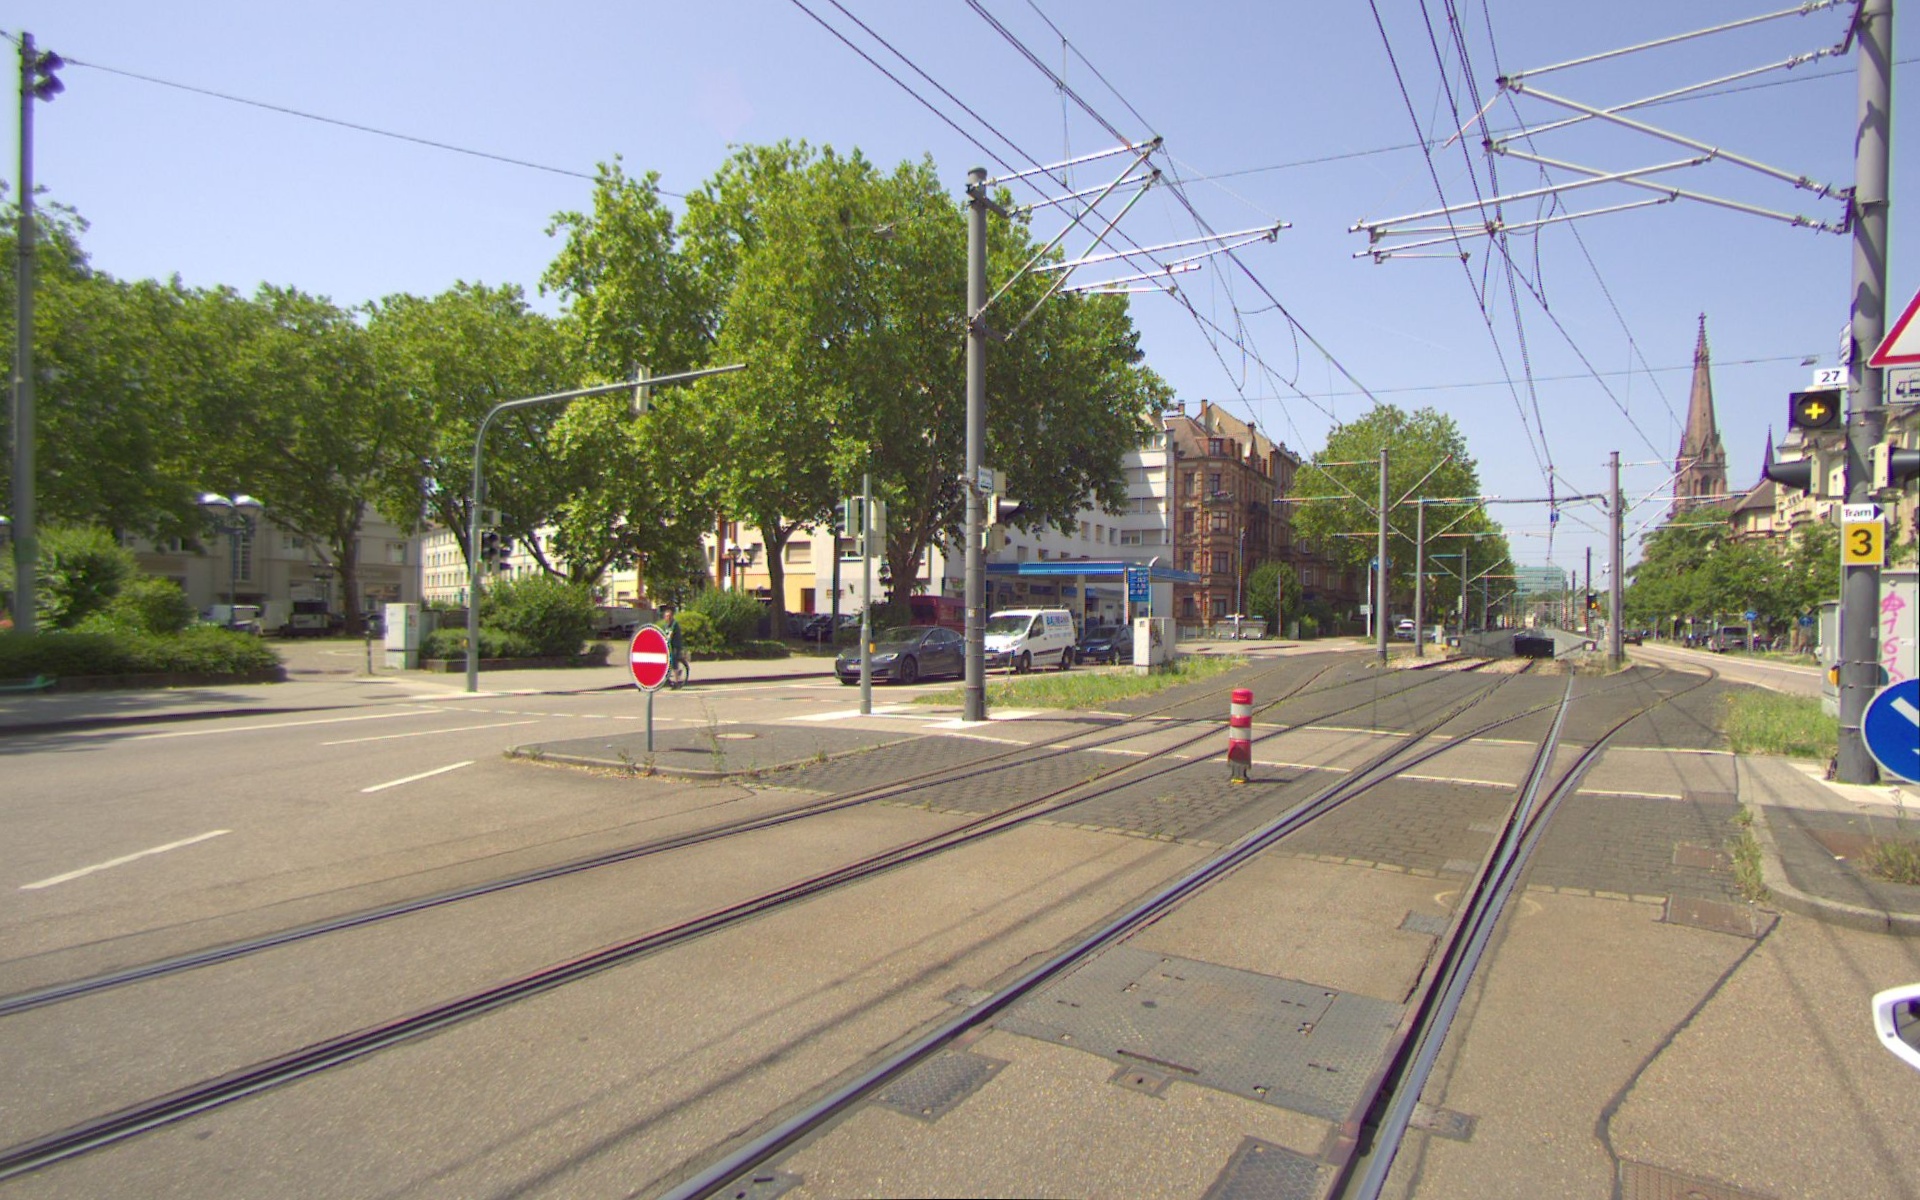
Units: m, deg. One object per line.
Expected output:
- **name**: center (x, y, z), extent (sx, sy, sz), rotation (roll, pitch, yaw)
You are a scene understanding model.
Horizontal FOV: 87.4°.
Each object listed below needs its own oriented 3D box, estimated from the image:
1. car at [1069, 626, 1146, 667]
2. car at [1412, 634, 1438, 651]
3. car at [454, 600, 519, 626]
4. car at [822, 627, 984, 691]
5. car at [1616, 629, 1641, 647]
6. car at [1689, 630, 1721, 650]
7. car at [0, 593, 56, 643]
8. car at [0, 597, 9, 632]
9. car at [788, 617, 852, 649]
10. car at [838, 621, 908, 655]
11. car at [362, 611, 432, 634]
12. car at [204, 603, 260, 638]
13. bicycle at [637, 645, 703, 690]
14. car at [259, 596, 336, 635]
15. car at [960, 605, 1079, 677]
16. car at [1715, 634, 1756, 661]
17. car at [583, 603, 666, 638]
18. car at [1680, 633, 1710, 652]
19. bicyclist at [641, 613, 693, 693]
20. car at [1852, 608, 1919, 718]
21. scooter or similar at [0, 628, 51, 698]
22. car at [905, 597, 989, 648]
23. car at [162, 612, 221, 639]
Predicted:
- **car**: center (5.534, 1.686, 37.334), extent (1.573, 1.439, 3.775), rotation (-1, -2, 30)
- **car**: center (45.242, 4.112, 97.608), extent (1.820, 1.647, 4.592), rotation (0, -2, 31)
- **car**: center (-29.382, 0.826, 62.268), extent (3.780, 1.507, 1.731), rotation (1, -1, 29)
- **car**: center (-1.324, 1.415, 25.543), extent (1.918, 1.377, 4.621), rotation (1, 0, 29)
- **car**: center (64.986, 3.687, 97.693), extent (1.724, 1.559, 3.752), rotation (2, 0, 29)
- **car**: center (63.189, 3.383, 85.229), extent (1.724, 1.599, 3.752), rotation (2, 0, 30)
- **car**: center (-29.254, 0.522, 30.694), extent (3.285, 1.402, 1.470), rotation (2, 0, 30)
- **car**: center (-32.485, 0.425, 32.753), extent (2.688, 1.112, 1.356), rotation (2, 0, 28)
- **car**: center (-7.743, 1.816, 55.772), extent (1.557, 1.714, 3.920), rotation (0, -1, 28)
- **car**: center (-4.448, 1.915, 51.871), extent (1.558, 1.664, 3.917), rotation (1, -1, 31)
- **car**: center (-33.375, 1.305, 59.539), extent (3.780, 1.272, 1.920), rotation (0, -1, 29)
- **car**: center (-44.890, 1.257, 61.900), extent (3.861, 1.975, 1.569), rotation (2, 0, 34)
- **bicycle**: center (-6.355, 1.468, 22.097), extent (0.488, 0.894, 1.481), rotation (2, 0, 28)
- **car**: center (-36.337, 0.839, 55.068), extent (3.933, 1.975, 2.159), rotation (2, 0, 34)
- **car**: center (1.949, 1.209, 31.092), extent (1.750, 2.017, 4.797), rotation (1, -1, 29)
- **car**: center (54.636, 3.301, 70.838), extent (1.724, 1.728, 3.752), rotation (2, 0, 30)
- **car**: center (-20.706, 1.266, 62.254), extent (1.887, 2.017, 5.103), rotation (1, -1, 25)
- **car**: center (66.597, 3.820, 91.029), extent (1.724, 1.599, 3.752), rotation (2, 0, 30)
- **bicyclist**: center (-6.425, 1.144, 22.041), extent (0.628, 1.708, 0.868), rotation (2, 0, 27)
- **car**: center (19.018, 1.201, 19.423), extent (1.889, 1.970, 4.254), rotation (2, 0, 32)
- **scooter or similar**: center (-15.635, 1.039, 16.608), extent (0.254, 1.135, 0.856), rotation (2, 0, 42)
- **car**: center (-0.597, 1.117, 50.902), extent (1.821, 2.424, 4.970), rotation (0, -1, 32)
- **car**: center (-45.738, 1.480, 59.756), extent (3.861, 1.428, 1.617), rotation (2, 0, 34)
